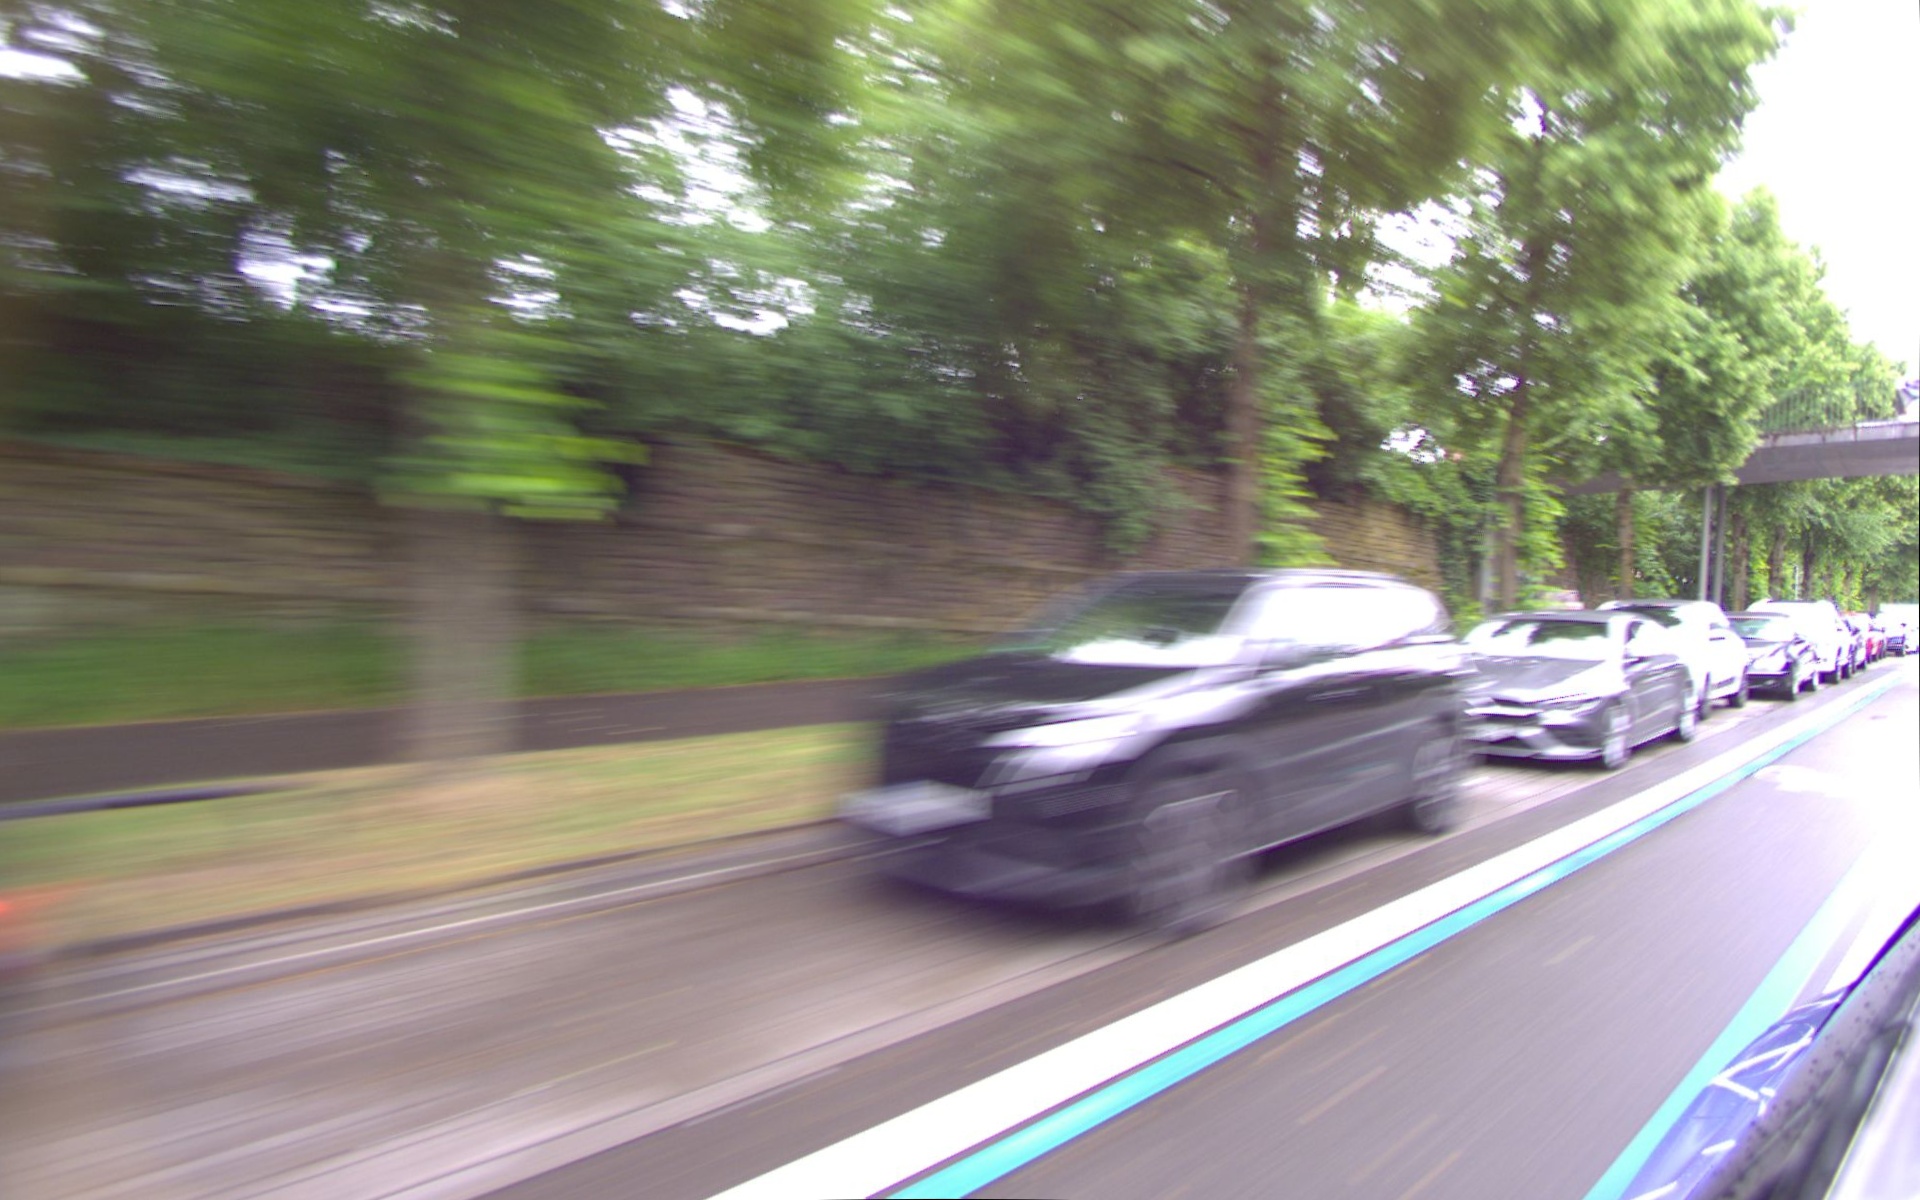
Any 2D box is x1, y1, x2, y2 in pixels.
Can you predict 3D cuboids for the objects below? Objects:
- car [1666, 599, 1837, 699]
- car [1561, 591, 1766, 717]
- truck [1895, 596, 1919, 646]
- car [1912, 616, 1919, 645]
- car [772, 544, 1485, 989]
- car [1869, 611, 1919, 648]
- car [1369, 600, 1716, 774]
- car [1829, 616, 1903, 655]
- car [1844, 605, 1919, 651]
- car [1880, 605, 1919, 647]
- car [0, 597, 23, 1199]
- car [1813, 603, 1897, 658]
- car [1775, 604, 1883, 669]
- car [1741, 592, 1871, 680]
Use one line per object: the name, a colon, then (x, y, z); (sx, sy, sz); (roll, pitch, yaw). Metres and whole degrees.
car: (13.688, 0.734, 17.395); (4.484, 1.393, 1.719); (-2, 2, -44)
car: (10.005, 0.659, 14.307); (3.678, 1.554, 1.663); (0, 0, -43)
truck: (47.820, 1.085, 50.332); (3.933, 2.363, 1.720); (3, -1, -44)
car: (56.471, 1.810, 58.569); (1.754, 1.605, 4.348); (1, -1, 40)
car: (1.255, 0.586, 5.997); (4.275, 1.666, 1.995); (-1, 1, -43)
car: (38.848, 1.235, 41.690); (4.539, 1.444, 1.662); (3, -1, -43)
car: (6.067, 0.702, 10.306); (4.389, 1.365, 1.777); (0, 1, -42)
car: (30.810, 1.203, 34.384); (4.114, 1.205, 1.627); (3, -1, -45)
car: (34.687, 1.059, 38.040); (1.993, 1.580, 4.569); (1, -1, 43)
car: (43.709, 1.217, 46.567); (4.272, 1.813, 1.723); (3, -1, -44)
car: (-3.833, 0.728, 1.198); (3.931, 1.393, 1.681); (-1, 1, -42)
car: (26.662, 0.922, 30.107); (3.563, 1.486, 1.560); (4, -3, -43)
car: (21.862, 0.857, 25.411); (4.377, 1.411, 1.674); (-1, 1, -44)
car: (17.778, 0.676, 21.190); (4.191, 1.639, 1.714); (0, 1, -45)
